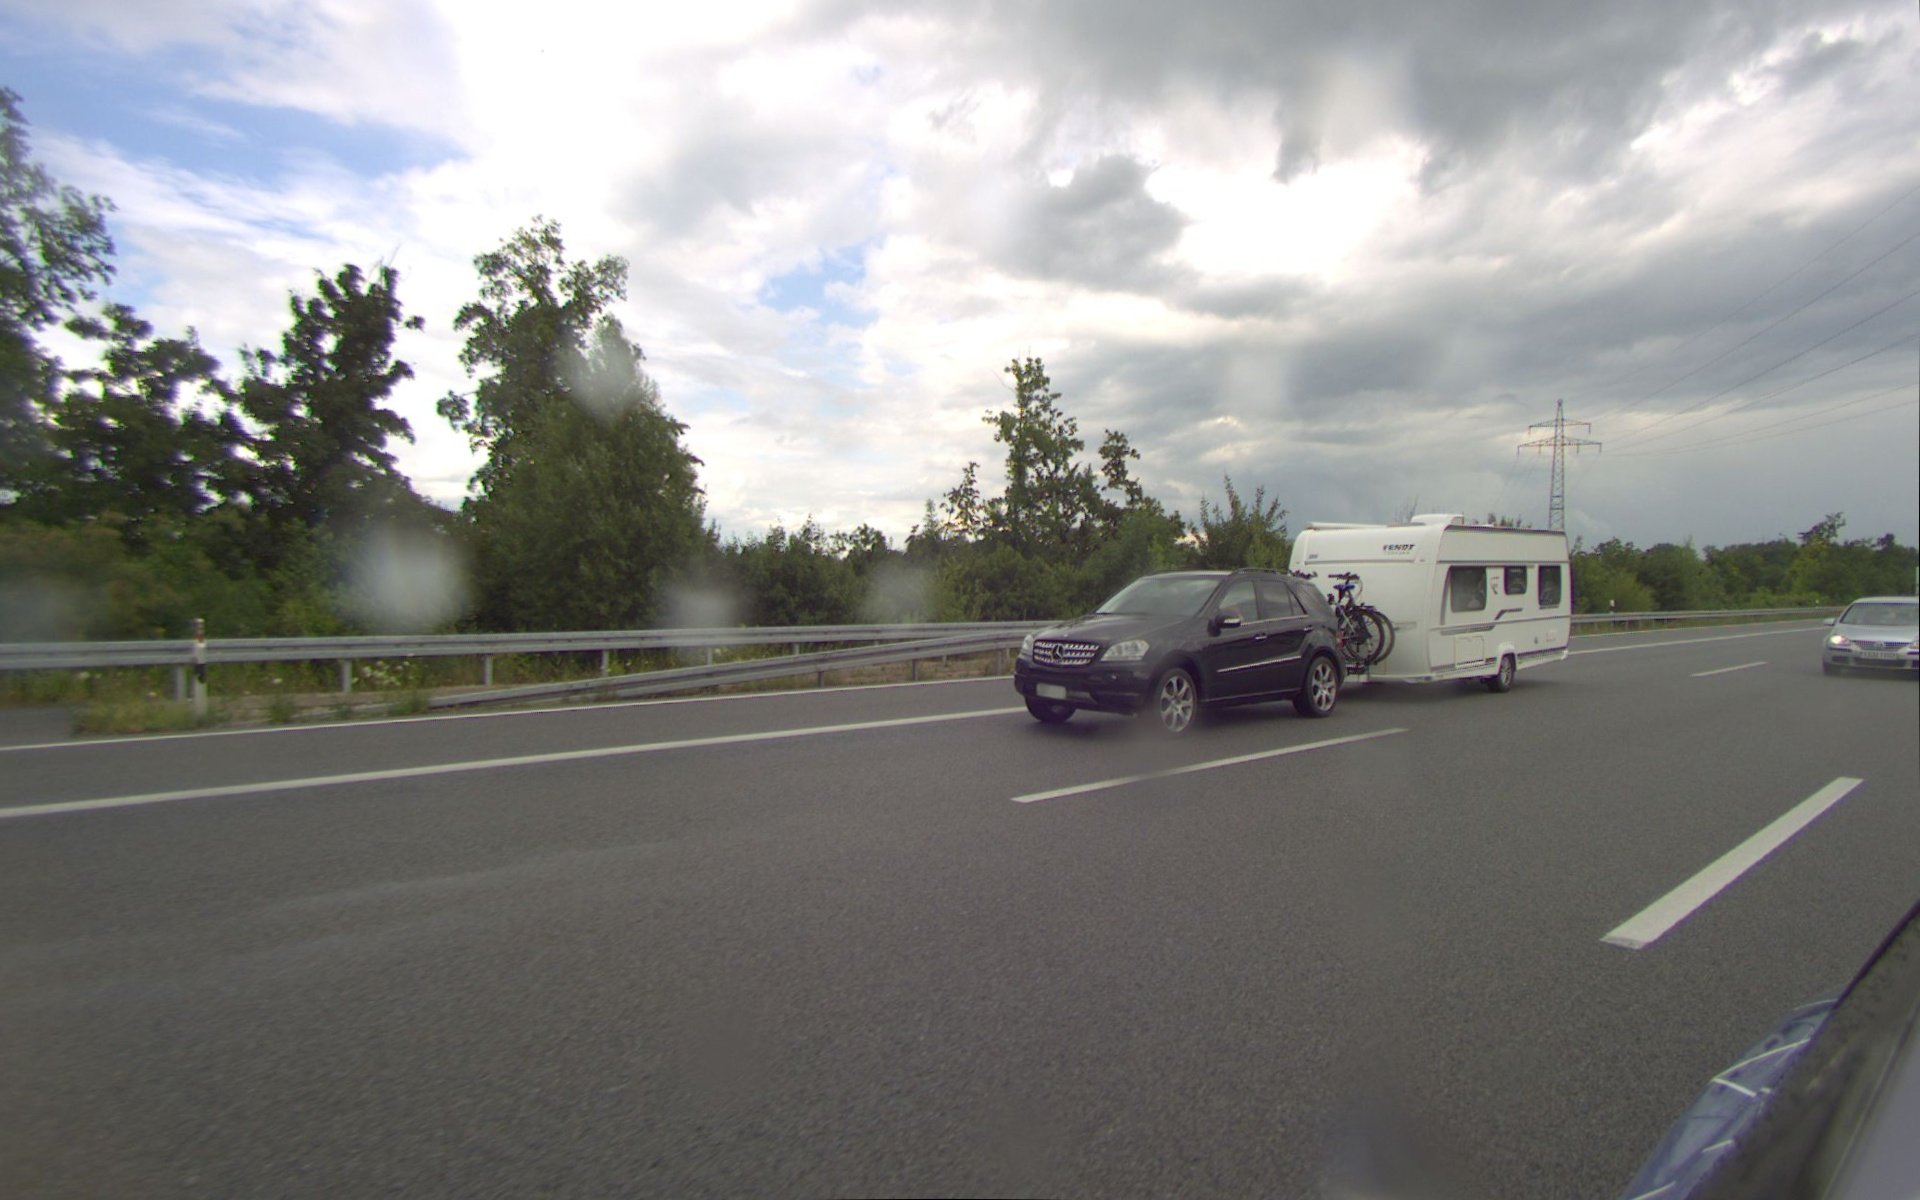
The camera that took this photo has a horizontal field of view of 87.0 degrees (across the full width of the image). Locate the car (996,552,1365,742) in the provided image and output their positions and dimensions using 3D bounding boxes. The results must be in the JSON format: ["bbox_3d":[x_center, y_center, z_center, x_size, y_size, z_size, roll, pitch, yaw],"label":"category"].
[{"bbox_3d":[2.681,0.417,11.722,4.423,1.798,1.923,-1,1,-41],"label":"car"}]

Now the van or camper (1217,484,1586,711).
[{"bbox_3d":[7.065,-0.064,15.603,7.083,2.773,2.388,-1,0,-41],"label":"van or camper"}]

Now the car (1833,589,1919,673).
[{"bbox_3d":[18.089,0.531,19.256,3.930,1.464,1.682,-1,1,-41],"label":"car"}]
